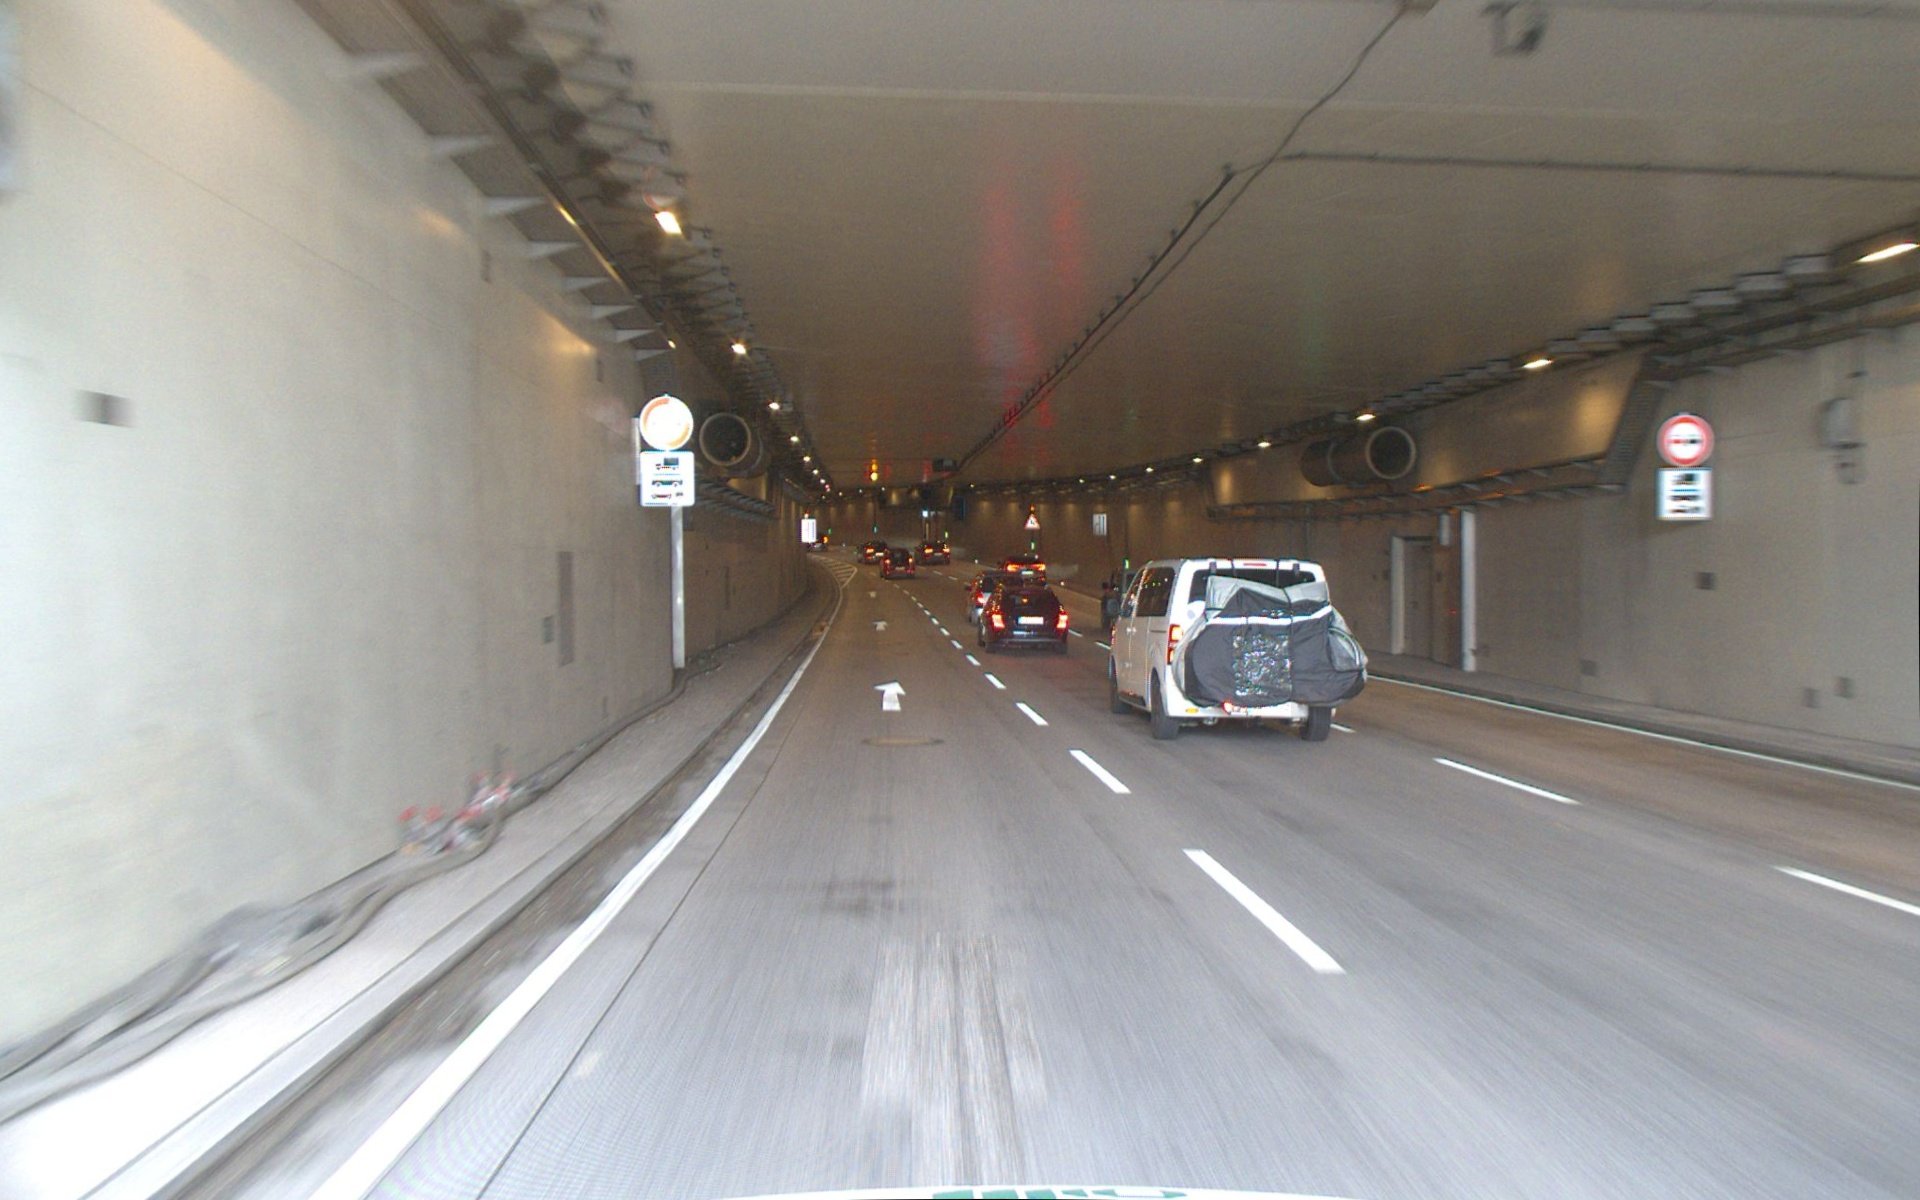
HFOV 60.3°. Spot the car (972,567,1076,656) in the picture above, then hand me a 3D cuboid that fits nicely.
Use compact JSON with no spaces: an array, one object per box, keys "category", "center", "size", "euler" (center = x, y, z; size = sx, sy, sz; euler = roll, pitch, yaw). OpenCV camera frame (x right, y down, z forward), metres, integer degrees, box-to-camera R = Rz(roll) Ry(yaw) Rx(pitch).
[{"category":"car","center":[1.327,0.188,35.691],"size":[1.783,1.713,3.998],"euler":[1,2,-4]}]

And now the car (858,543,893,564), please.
[{"category":"car","center":[-5.331,-2.918,103.831],"size":[1.635,1.268,3.556],"euler":[0,1,-13]}]

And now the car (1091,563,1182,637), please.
[{"category":"car","center":[4.776,-0.043,45.236],"size":[1.783,1.779,3.999],"euler":[4,2,-3]}]

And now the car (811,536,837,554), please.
[{"category":"car","center":[-10.584,-4.240,128.307],"size":[1.482,1.268,3.555],"euler":[-2,1,-13]}]

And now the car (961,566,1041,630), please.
[{"category":"car","center":[1.156,-0.088,48.542],"size":[1.783,1.607,3.997],"euler":[4,2,-5]}]

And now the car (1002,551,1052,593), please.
[{"category":"car","center":[2.925,-1.268,72.829],"size":[1.628,1.662,3.564],"euler":[4,2,-6]}]

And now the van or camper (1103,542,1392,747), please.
[{"category":"van or camper","center":[2.944,0.403,18.305],"size":[1.954,1.877,5.505],"euler":[1,0,-3]}]

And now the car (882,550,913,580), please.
[{"category":"car","center":[-3.305,-1.831,87.374],"size":[1.627,1.514,3.565],"euler":[0,1,-3]}]

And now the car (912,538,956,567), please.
[{"category":"car","center":[-1.636,-2.921,101.946],"size":[1.954,1.705,4.496],"euler":[0,1,-11]}]
